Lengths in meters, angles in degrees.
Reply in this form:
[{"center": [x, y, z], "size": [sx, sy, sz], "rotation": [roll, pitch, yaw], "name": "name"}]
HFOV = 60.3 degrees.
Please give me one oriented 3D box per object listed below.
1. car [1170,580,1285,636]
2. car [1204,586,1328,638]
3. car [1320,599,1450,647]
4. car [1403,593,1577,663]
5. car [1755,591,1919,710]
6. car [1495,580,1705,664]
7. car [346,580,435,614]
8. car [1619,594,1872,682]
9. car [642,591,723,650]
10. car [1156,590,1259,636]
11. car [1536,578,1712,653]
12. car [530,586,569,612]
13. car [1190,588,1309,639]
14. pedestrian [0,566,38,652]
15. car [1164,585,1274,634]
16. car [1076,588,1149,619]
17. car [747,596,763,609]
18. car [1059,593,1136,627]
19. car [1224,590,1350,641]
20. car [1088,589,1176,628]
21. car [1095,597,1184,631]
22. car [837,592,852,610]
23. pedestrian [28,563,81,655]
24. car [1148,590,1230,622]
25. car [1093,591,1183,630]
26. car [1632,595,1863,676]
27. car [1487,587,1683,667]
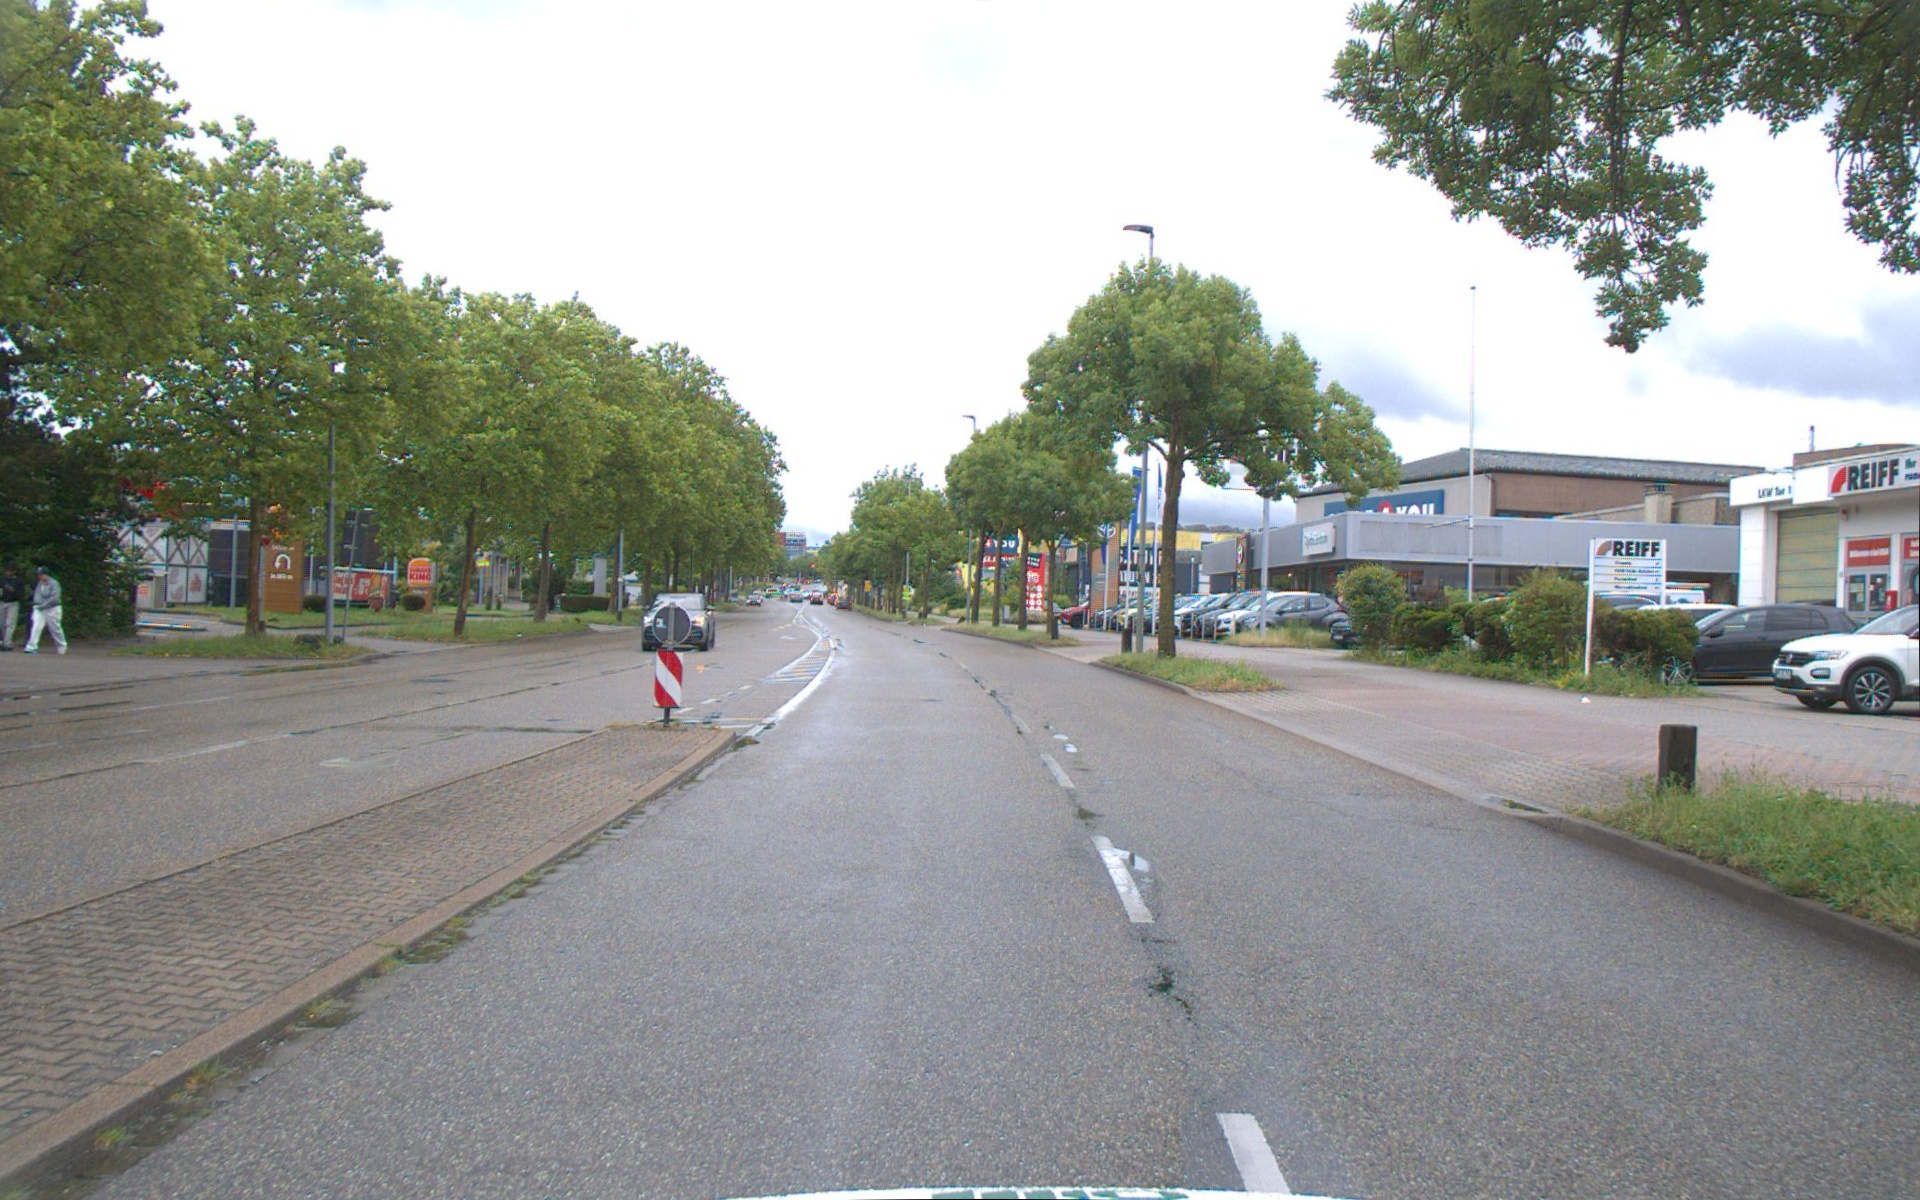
[{"center": [10.054, 0.292, 62.365], "size": [3.908, 1.817, 1.811], "rotation": [-4, 0, -3], "name": "car"}, {"center": [10.690, 0.410, 58.003], "size": [3.908, 1.570, 1.811], "rotation": [-3, 0, -3], "name": "car"}, {"center": [13.378, 0.706, 52.220], "size": [3.605, 1.489, 1.793], "rotation": [0, 0, -4], "name": "car"}, {"center": [12.921, 0.662, 40.557], "size": [3.969, 1.625, 1.986], "rotation": [0, 0, 16], "name": "car"}, {"center": [13.632, 0.699, 23.168], "size": [4.087, 1.579, 1.891], "rotation": [1, 0, 4], "name": "car"}, {"center": [13.653, 0.441, 35.506], "size": [4.054, 1.691, 1.823], "rotation": [0, 2, 16], "name": "car"}, {"center": [-23.379, -0.133, 67.920], "size": [3.109, 1.175, 1.291], "rotation": [4, 0, 3], "name": "car"}, {"center": [14.406, 0.669, 30.536], "size": [3.902, 1.549, 1.719], "rotation": [0, 0, 10], "name": "car"}, {"center": [-7.896, 0.578, 47.415], "size": [1.775, 1.589, 4.595], "rotation": [1, -1, -3], "name": "car"}, {"center": [10.127, 0.533, 67.913], "size": [3.907, 1.818, 1.811], "rotation": [0, 0, -3], "name": "car"}, {"center": [20.096, 0.470, 50.150], "size": [4.562, 2.187, 1.963], "rotation": [1, 0, -5], "name": "car"}, {"center": [-25.465, -0.069, 102.728], "size": [1.788, 1.512, 3.934], "rotation": [1, 0, -7], "name": "car"}, {"center": [10.541, 0.479, 60.356], "size": [3.908, 1.612, 1.811], "rotation": [-3, 0, -3], "name": "car"}, {"center": [-18.897, 0.183, 33.182], "size": [0.501, 1.712, 0.540], "rotation": [0, 0, -3], "name": "pedestrian"}, {"center": [10.196, 0.348, 65.248], "size": [3.911, 1.615, 1.810], "rotation": [-4, 1, -7], "name": "car"}, {"center": [10.613, 0.239, 115.229], "size": [4.741, 2.049, 1.982], "rotation": [1, -1, -15], "name": "car"}, {"center": [-24.530, 0.288, 198.330], "size": [1.769, 1.488, 3.842], "rotation": [0, 0, -5], "name": "car"}, {"center": [7.153, 0.522, 86.323], "size": [3.766, 1.632, 1.793], "rotation": [-2, 0, -5], "name": "car"}, {"center": [10.943, 0.514, 55.481], "size": [3.759, 1.487, 1.826], "rotation": [-3, 0, -6], "name": "car"}, {"center": [8.284, 0.417, 79.731], "size": [3.909, 1.676, 1.843], "rotation": [-3, 0, -5], "name": "car"}, {"center": [8.448, 0.650, 78.079], "size": [3.909, 1.565, 1.798], "rotation": [1, 0, -5], "name": "car"}, {"center": [-13.233, 0.129, 189.161], "size": [1.710, 2.049, 3.997], "rotation": [1, 0, -4], "name": "car"}, {"center": [-18.156, 0.178, 33.157], "size": [0.651, 1.797, 0.583], "rotation": [2, 0, 18], "name": "pedestrian"}, {"center": [11.966, 0.307, 86.617], "size": [4.025, 1.650, 1.880], "rotation": [-1, 0, -1], "name": "car"}, {"center": [8.179, 0.462, 76.046], "size": [3.767, 1.593, 1.664], "rotation": [-3, 0, -8], "name": "car"}, {"center": [15.630, 0.678, 33.016], "size": [3.844, 1.550, 1.734], "rotation": [0, 0, 10], "name": "car"}, {"center": [14.096, 0.579, 37.502], "size": [4.056, 1.691, 1.822], "rotation": [0, 2, 19], "name": "car"}]
